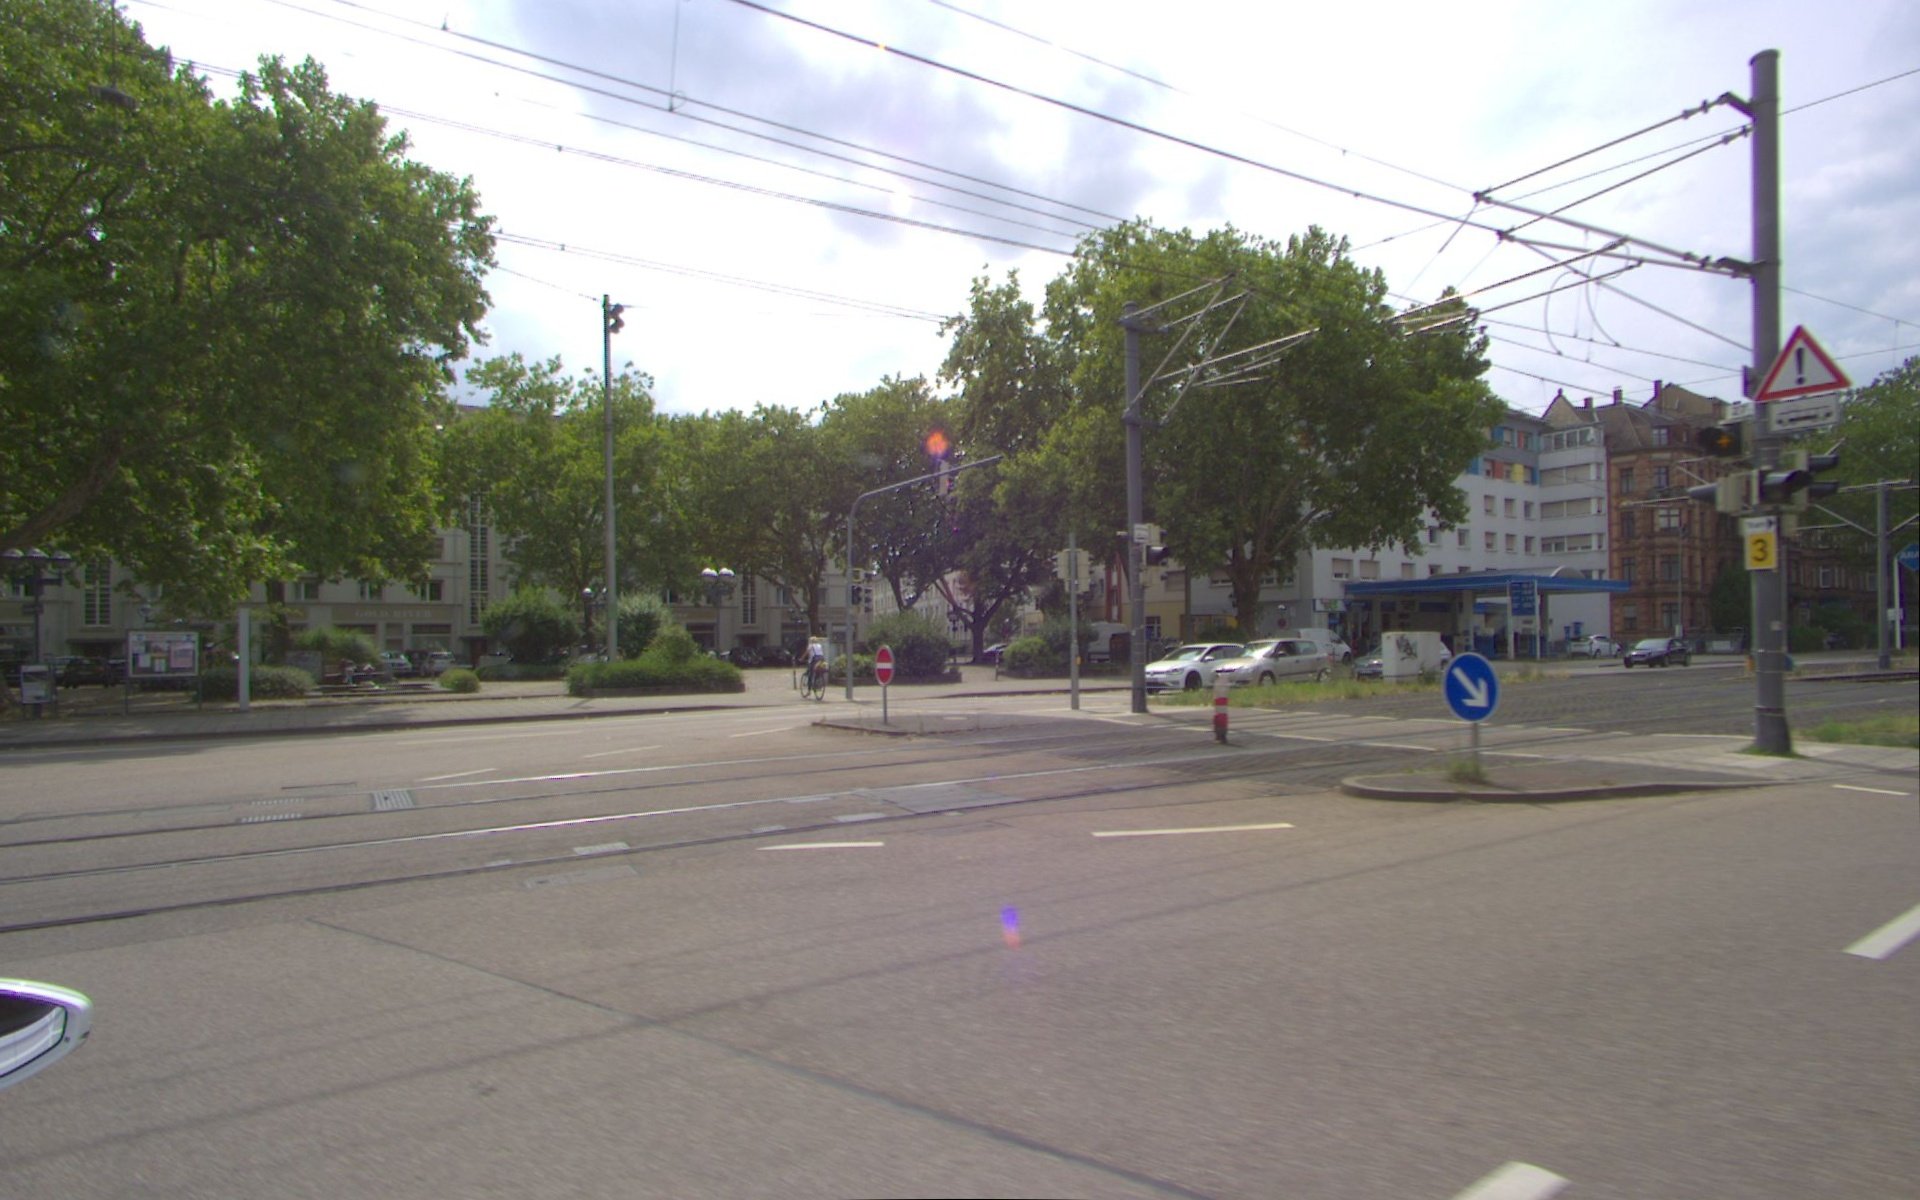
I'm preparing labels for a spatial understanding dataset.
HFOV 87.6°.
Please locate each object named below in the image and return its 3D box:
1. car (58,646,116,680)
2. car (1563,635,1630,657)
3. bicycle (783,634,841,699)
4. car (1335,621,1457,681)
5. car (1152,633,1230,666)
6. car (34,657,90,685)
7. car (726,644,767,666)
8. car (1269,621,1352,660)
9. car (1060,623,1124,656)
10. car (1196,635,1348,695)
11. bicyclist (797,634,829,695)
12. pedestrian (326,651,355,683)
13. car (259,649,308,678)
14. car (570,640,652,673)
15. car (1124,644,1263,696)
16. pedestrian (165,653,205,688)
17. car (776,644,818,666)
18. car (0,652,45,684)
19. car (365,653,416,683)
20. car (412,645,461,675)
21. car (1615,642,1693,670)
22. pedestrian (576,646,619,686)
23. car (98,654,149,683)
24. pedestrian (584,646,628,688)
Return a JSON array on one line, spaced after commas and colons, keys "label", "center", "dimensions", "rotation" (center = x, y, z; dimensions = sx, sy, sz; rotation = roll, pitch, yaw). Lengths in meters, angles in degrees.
[{"label": "car", "center": [-44.012, 3.166, 50.549], "dimensions": [1.977, 1.619, 3.970], "rotation": [0, -3, -38]}, {"label": "car", "center": [37.950, 2.733, 59.701], "dimensions": [3.948, 1.282, 1.988], "rotation": [1, -2, -34]}, {"label": "bicycle", "center": [-4.150, 1.827, 27.900], "dimensions": [0.713, 1.727, 2.169], "rotation": [1, -2, -35]}, {"label": "car", "center": [15.796, 1.817, 36.280], "dimensions": [3.939, 2.039, 1.993], "rotation": [0, -2, -27]}, {"label": "car", "center": [13.203, 2.825, 57.362], "dimensions": [3.934, 1.839, 1.995], "rotation": [1, -2, -22]}, {"label": "car", "center": [-51.768, 4.076, 57.805], "dimensions": [1.975, 1.506, 4.167], "rotation": [1, -3, -36]}, {"label": "car", "center": [-15.178, 3.882, 70.981], "dimensions": [1.968, 1.502, 4.087], "rotation": [0, -2, -25]}, {"label": "car", "center": [17.956, 2.070, 51.248], "dimensions": [4.330, 1.901, 1.985], "rotation": [1, -2, -38]}, {"label": "car", "center": [8.666, 2.594, 65.720], "dimensions": [3.983, 2.134, 1.984], "rotation": [1, -2, -40]}, {"label": "car", "center": [8.596, 1.717, 27.459], "dimensions": [4.234, 1.530, 1.827], "rotation": [1, -2, -36]}, {"label": "bicyclist", "center": [-4.092, 1.773, 27.866], "dimensions": [0.555, 1.674, 0.861], "rotation": [1, -1, -37]}, {"label": "pedestrian", "center": [-24.159, 2.607, 39.050], "dimensions": [0.878, 1.215, 1.116], "rotation": [1, -2, -37]}, {"label": "car", "center": [-37.418, 3.488, 55.372], "dimensions": [1.977, 1.482, 3.970], "rotation": [0, -3, -38]}, {"label": "car", "center": [-20.871, 3.353, 59.911], "dimensions": [4.278, 1.839, 1.987], "rotation": [1, -2, -35]}, {"label": "car", "center": [6.996, 2.046, 29.856], "dimensions": [4.238, 1.401, 1.825], "rotation": [1, -2, -38]}, {"label": "pedestrian", "center": [-28.165, 2.544, 36.418], "dimensions": [1.085, 1.228, 1.134], "rotation": [0, -2, -34]}, {"label": "car", "center": [-11.825, 3.920, 72.305], "dimensions": [1.968, 1.502, 4.087], "rotation": [0, -2, -25]}, {"label": "car", "center": [-45.939, 3.275, 48.598], "dimensions": [1.977, 1.482, 3.970], "rotation": [0, -3, -38]}, {"label": "car", "center": [-33.010, 3.891, 57.967], "dimensions": [1.977, 1.638, 4.173], "rotation": [0, -3, -38]}, {"label": "car", "center": [-31.240, 3.539, 59.689], "dimensions": [1.976, 1.660, 3.971], "rotation": [1, -2, -37]}, {"label": "car", "center": [33.536, 2.668, 48.386], "dimensions": [3.952, 1.282, 1.986], "rotation": [1, -2, -37]}, {"label": "pedestrian", "center": [-12.297, 2.219, 33.961], "dimensions": [1.165, 1.334, 0.861], "rotation": [1, -2, -37]}, {"label": "car", "center": [-48.903, 3.957, 58.606], "dimensions": [1.975, 1.611, 4.167], "rotation": [1, -3, -36]}, {"label": "pedestrian", "center": [-11.743, 2.198, 33.192], "dimensions": [1.165, 1.334, 0.861], "rotation": [1, -2, -37]}]
